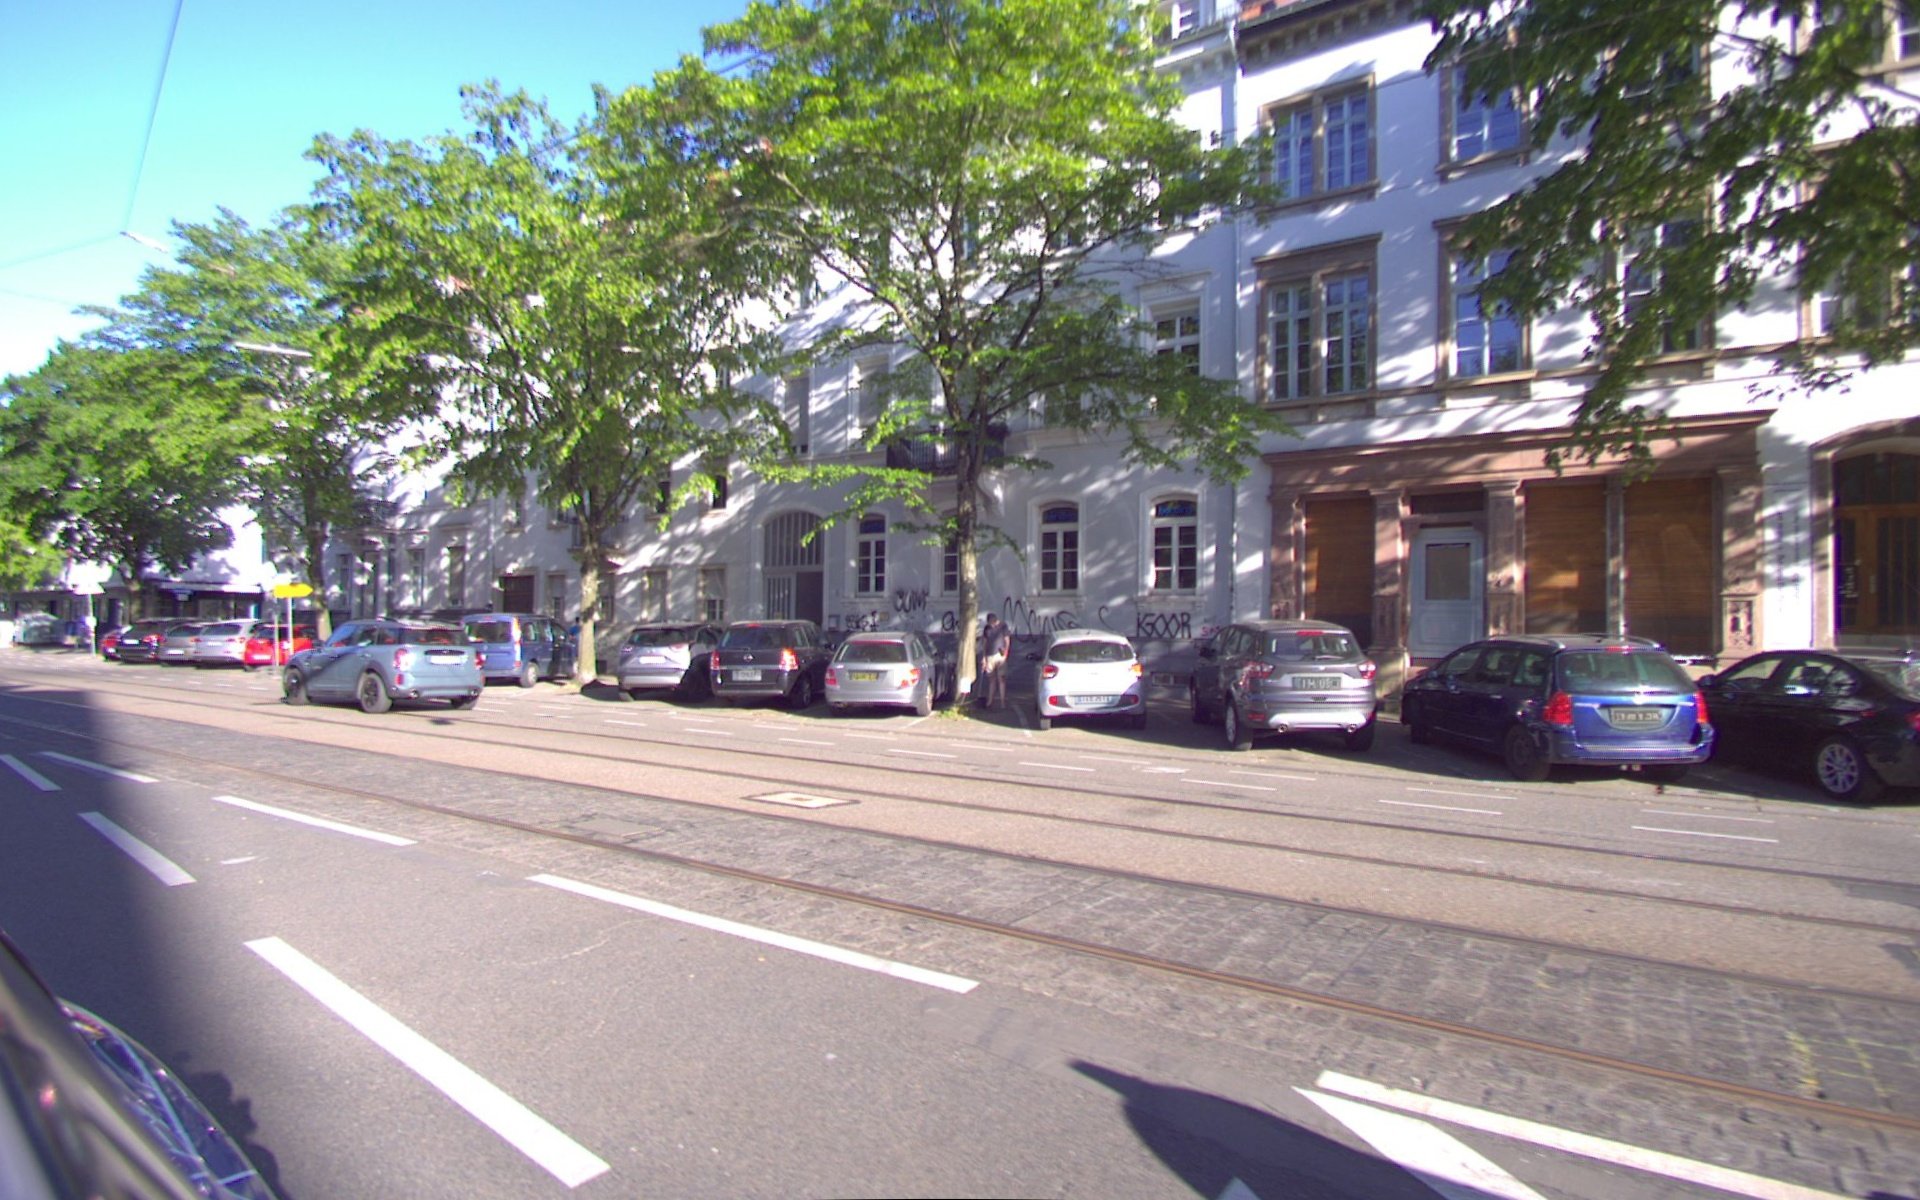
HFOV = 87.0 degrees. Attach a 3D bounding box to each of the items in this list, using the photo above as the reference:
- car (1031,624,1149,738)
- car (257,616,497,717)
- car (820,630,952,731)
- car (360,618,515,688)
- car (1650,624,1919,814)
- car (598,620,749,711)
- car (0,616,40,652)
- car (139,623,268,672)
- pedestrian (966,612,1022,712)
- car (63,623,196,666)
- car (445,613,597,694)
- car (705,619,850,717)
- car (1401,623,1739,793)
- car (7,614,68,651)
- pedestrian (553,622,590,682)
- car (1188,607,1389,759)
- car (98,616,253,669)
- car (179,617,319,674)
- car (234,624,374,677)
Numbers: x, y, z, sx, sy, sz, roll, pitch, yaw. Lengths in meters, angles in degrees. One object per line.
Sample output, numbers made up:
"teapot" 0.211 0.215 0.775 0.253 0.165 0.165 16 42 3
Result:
"car" 2.024 1.239 16.536 1.685 1.544 3.277 0 1 4
"car" -10.516 1.132 18.182 4.412 1.613 1.856 -1 -3 32
"car" -1.214 1.351 18.297 1.749 1.496 3.815 1 0 6
"car" -14.095 1.388 27.585 1.721 1.649 4.193 -1 0 6
"car" 9.454 1.116 10.644 1.612 1.629 3.986 0 0 0
"car" -5.897 1.294 21.324 1.751 1.667 3.864 1 -1 6
"car" -52.172 1.853 55.640 3.207 1.912 1.653 -1 -3 35
"car" -26.847 1.652 36.068 1.725 1.531 3.764 0 0 1
"pedestrian" 0.630 1.122 18.562 0.803 1.769 0.759 0 -3 24
"car" -32.165 1.700 39.346 1.758 1.497 3.996 1 0 3
"car" -11.133 1.292 26.005 1.764 1.812 4.193 1 0 6
"car" -3.439 1.235 19.771 1.752 1.667 3.863 1 -1 6
"car" 7.019 1.136 12.194 1.612 1.629 3.986 0 0 0
"car" -48.538 1.702 53.227 3.207 1.912 1.653 -1 -3 35
"pedestrian" -11.343 1.499 29.523 0.870 1.709 0.635 -1 -3 40
"car" 4.486 1.018 14.494 1.685 1.735 4.282 1 1 3
"car" -28.889 1.516 37.437 1.928 1.727 4.343 0 0 12
"car" -24.262 1.513 34.742 1.761 1.737 4.198 0 0 3
"car" -21.538 1.612 33.440 1.620 1.570 4.193 0 -1 6
